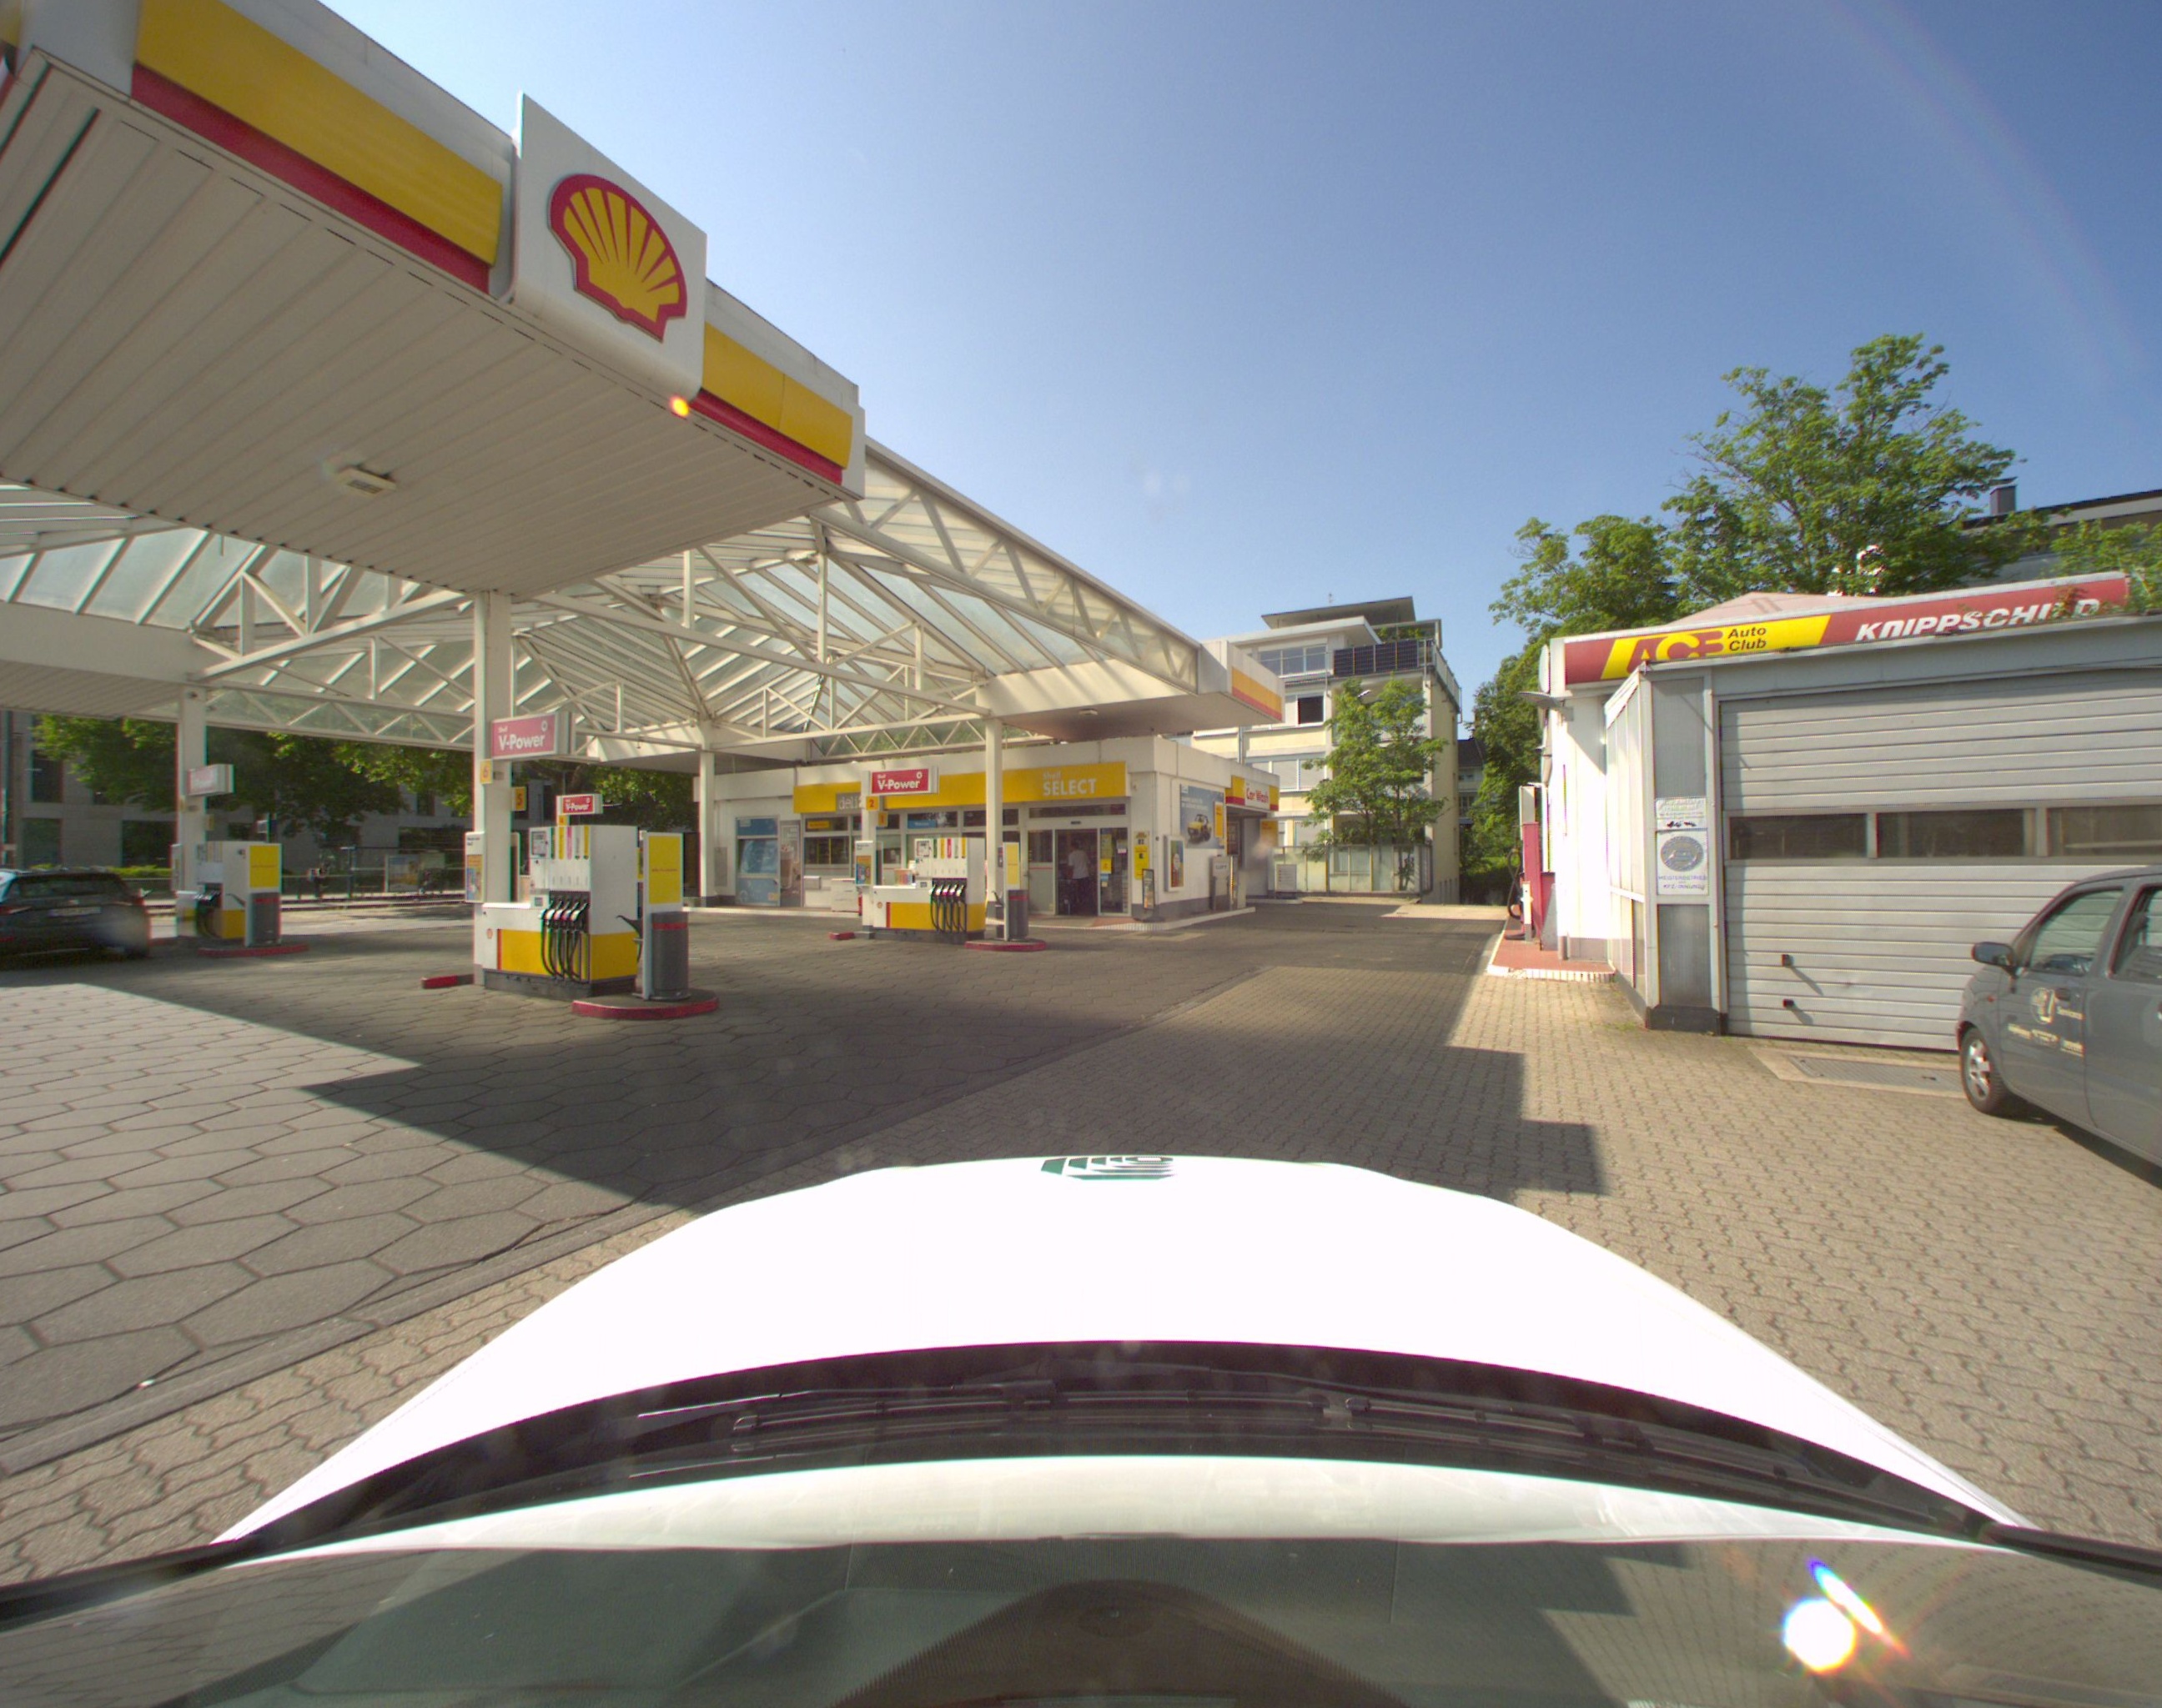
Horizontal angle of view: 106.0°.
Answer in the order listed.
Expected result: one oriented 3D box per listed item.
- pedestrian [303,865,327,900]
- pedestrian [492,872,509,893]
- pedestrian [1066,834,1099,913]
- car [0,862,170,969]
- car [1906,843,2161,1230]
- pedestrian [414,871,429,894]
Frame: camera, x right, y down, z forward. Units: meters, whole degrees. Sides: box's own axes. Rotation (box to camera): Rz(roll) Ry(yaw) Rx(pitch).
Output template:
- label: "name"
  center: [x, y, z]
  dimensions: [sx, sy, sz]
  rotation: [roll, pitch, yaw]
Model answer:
- label: "pedestrian"
  center: [-35.343, 1.318, 37.578]
  dimensions: [0.662, 1.591, 0.589]
  rotation: [1, 0, 29]
- label: "pedestrian"
  center: [-31.702, 1.534, 44.501]
  dimensions: [0.517, 1.138, 0.634]
  rotation: [-1, -1, 35]
- label: "pedestrian"
  center: [0.049, 0.498, 21.075]
  dimensions: [0.616, 2.014, 0.746]
  rotation: [-1, -1, 20]
- label: "car"
  center: [-17.334, 0.959, 13.723]
  dimensions: [3.949, 1.531, 1.760]
  rotation: [-1, 0, 28]
- label: "car"
  center: [5.855, 0.782, 4.002]
  dimensions: [1.670, 1.617, 3.685]
  rotation: [-1, -2, 32]
- label: "pedestrian"
  center: [-33.429, 1.460, 41.277]
  dimensions: [0.517, 1.138, 0.504]
  rotation: [-1, -1, 35]
